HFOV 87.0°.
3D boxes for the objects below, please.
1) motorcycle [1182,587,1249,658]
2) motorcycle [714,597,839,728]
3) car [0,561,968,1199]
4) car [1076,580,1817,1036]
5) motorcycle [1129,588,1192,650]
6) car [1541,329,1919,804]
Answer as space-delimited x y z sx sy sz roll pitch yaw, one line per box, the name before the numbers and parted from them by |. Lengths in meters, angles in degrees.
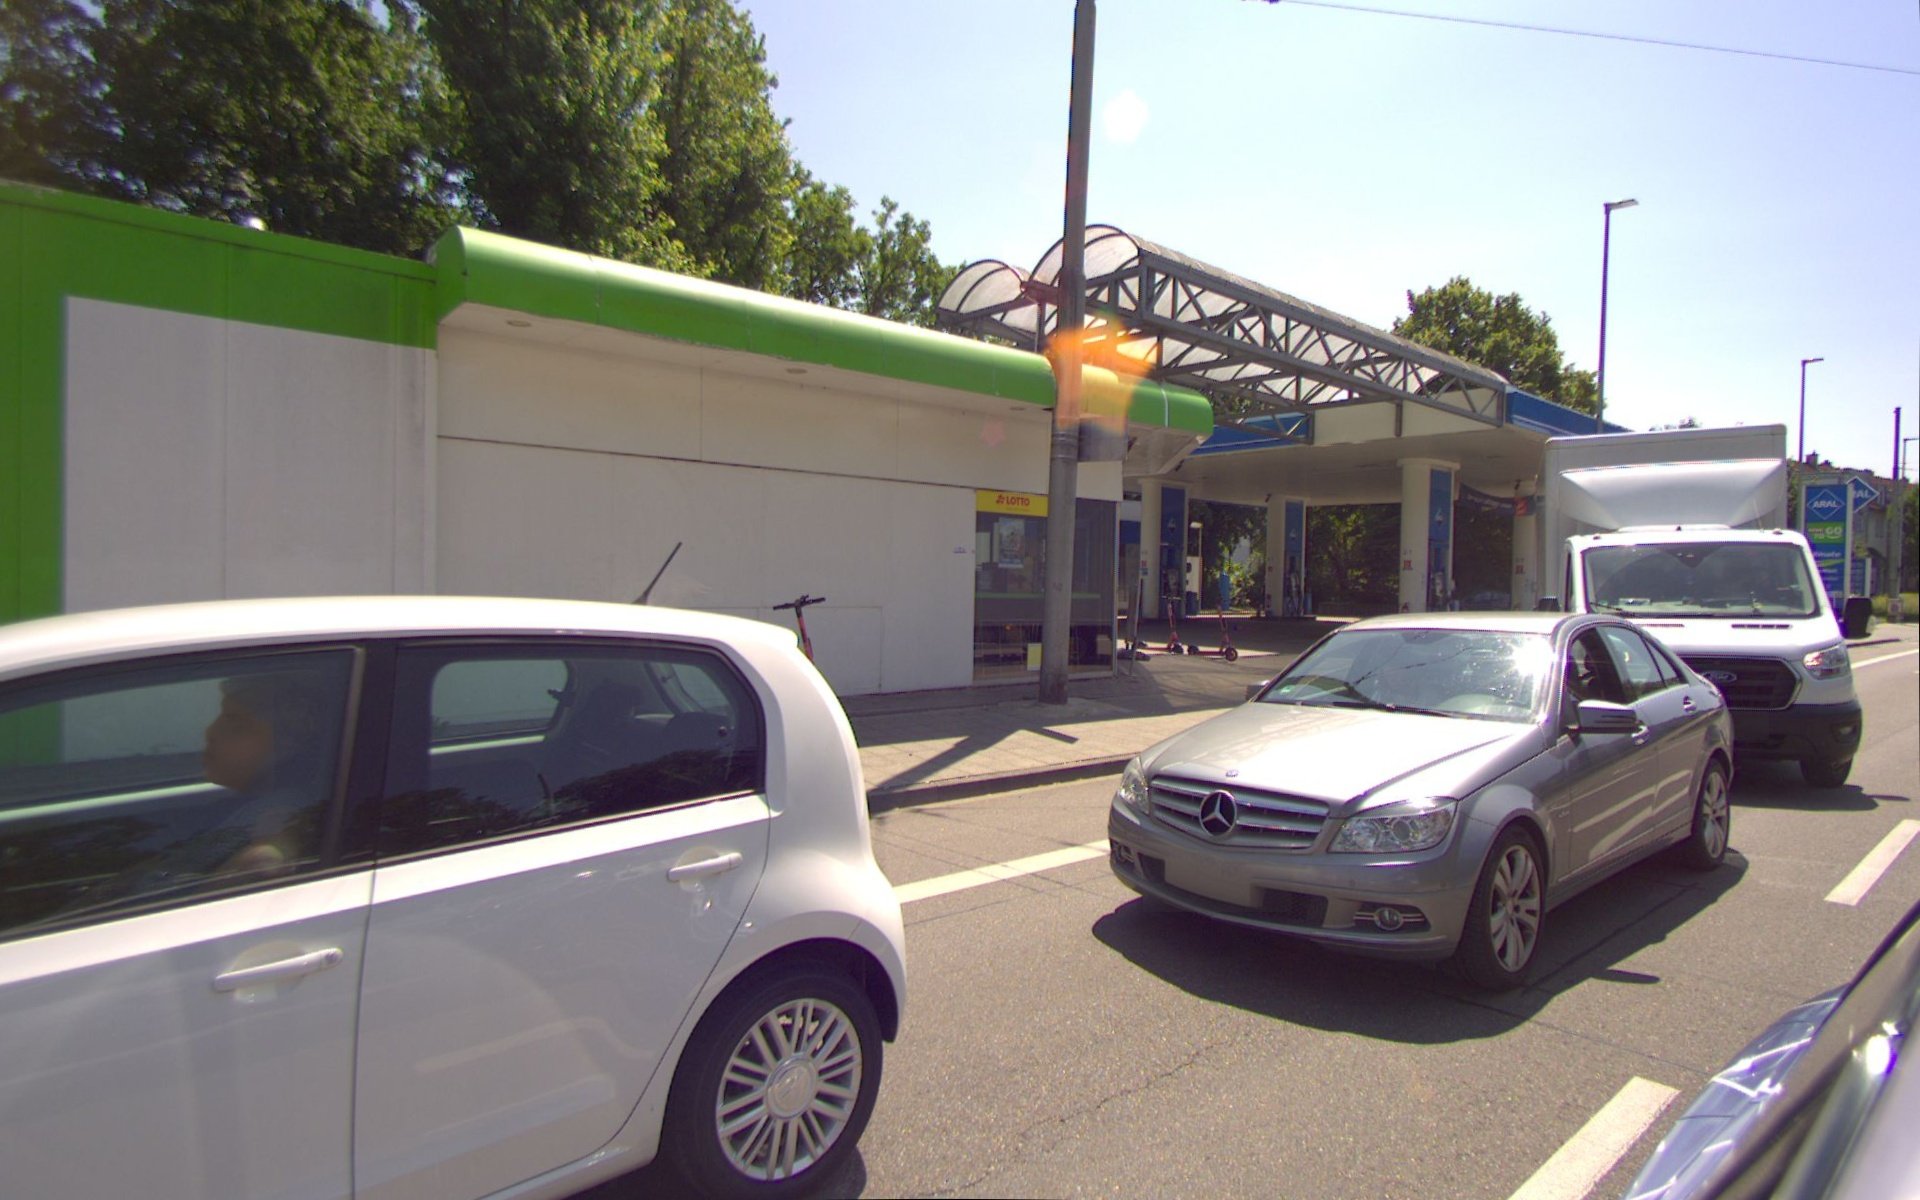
motorcycle | 4.773 0.409 18.950 0.357 1.225 1.156 2 2 -41
motorcycle | -1.675 0.545 9.304 1.098 1.118 0.253 -1 7 -40
car | -1.781 0.672 2.278 3.374 1.466 1.612 1 0 -40
car | 3.077 0.698 5.654 5.206 1.492 1.716 0 -1 -40
motorcycle | 3.928 0.368 19.888 0.389 1.127 1.156 2 2 -41
car | 7.942 -0.258 11.479 2.211 3.378 8.546 -1 0 29
